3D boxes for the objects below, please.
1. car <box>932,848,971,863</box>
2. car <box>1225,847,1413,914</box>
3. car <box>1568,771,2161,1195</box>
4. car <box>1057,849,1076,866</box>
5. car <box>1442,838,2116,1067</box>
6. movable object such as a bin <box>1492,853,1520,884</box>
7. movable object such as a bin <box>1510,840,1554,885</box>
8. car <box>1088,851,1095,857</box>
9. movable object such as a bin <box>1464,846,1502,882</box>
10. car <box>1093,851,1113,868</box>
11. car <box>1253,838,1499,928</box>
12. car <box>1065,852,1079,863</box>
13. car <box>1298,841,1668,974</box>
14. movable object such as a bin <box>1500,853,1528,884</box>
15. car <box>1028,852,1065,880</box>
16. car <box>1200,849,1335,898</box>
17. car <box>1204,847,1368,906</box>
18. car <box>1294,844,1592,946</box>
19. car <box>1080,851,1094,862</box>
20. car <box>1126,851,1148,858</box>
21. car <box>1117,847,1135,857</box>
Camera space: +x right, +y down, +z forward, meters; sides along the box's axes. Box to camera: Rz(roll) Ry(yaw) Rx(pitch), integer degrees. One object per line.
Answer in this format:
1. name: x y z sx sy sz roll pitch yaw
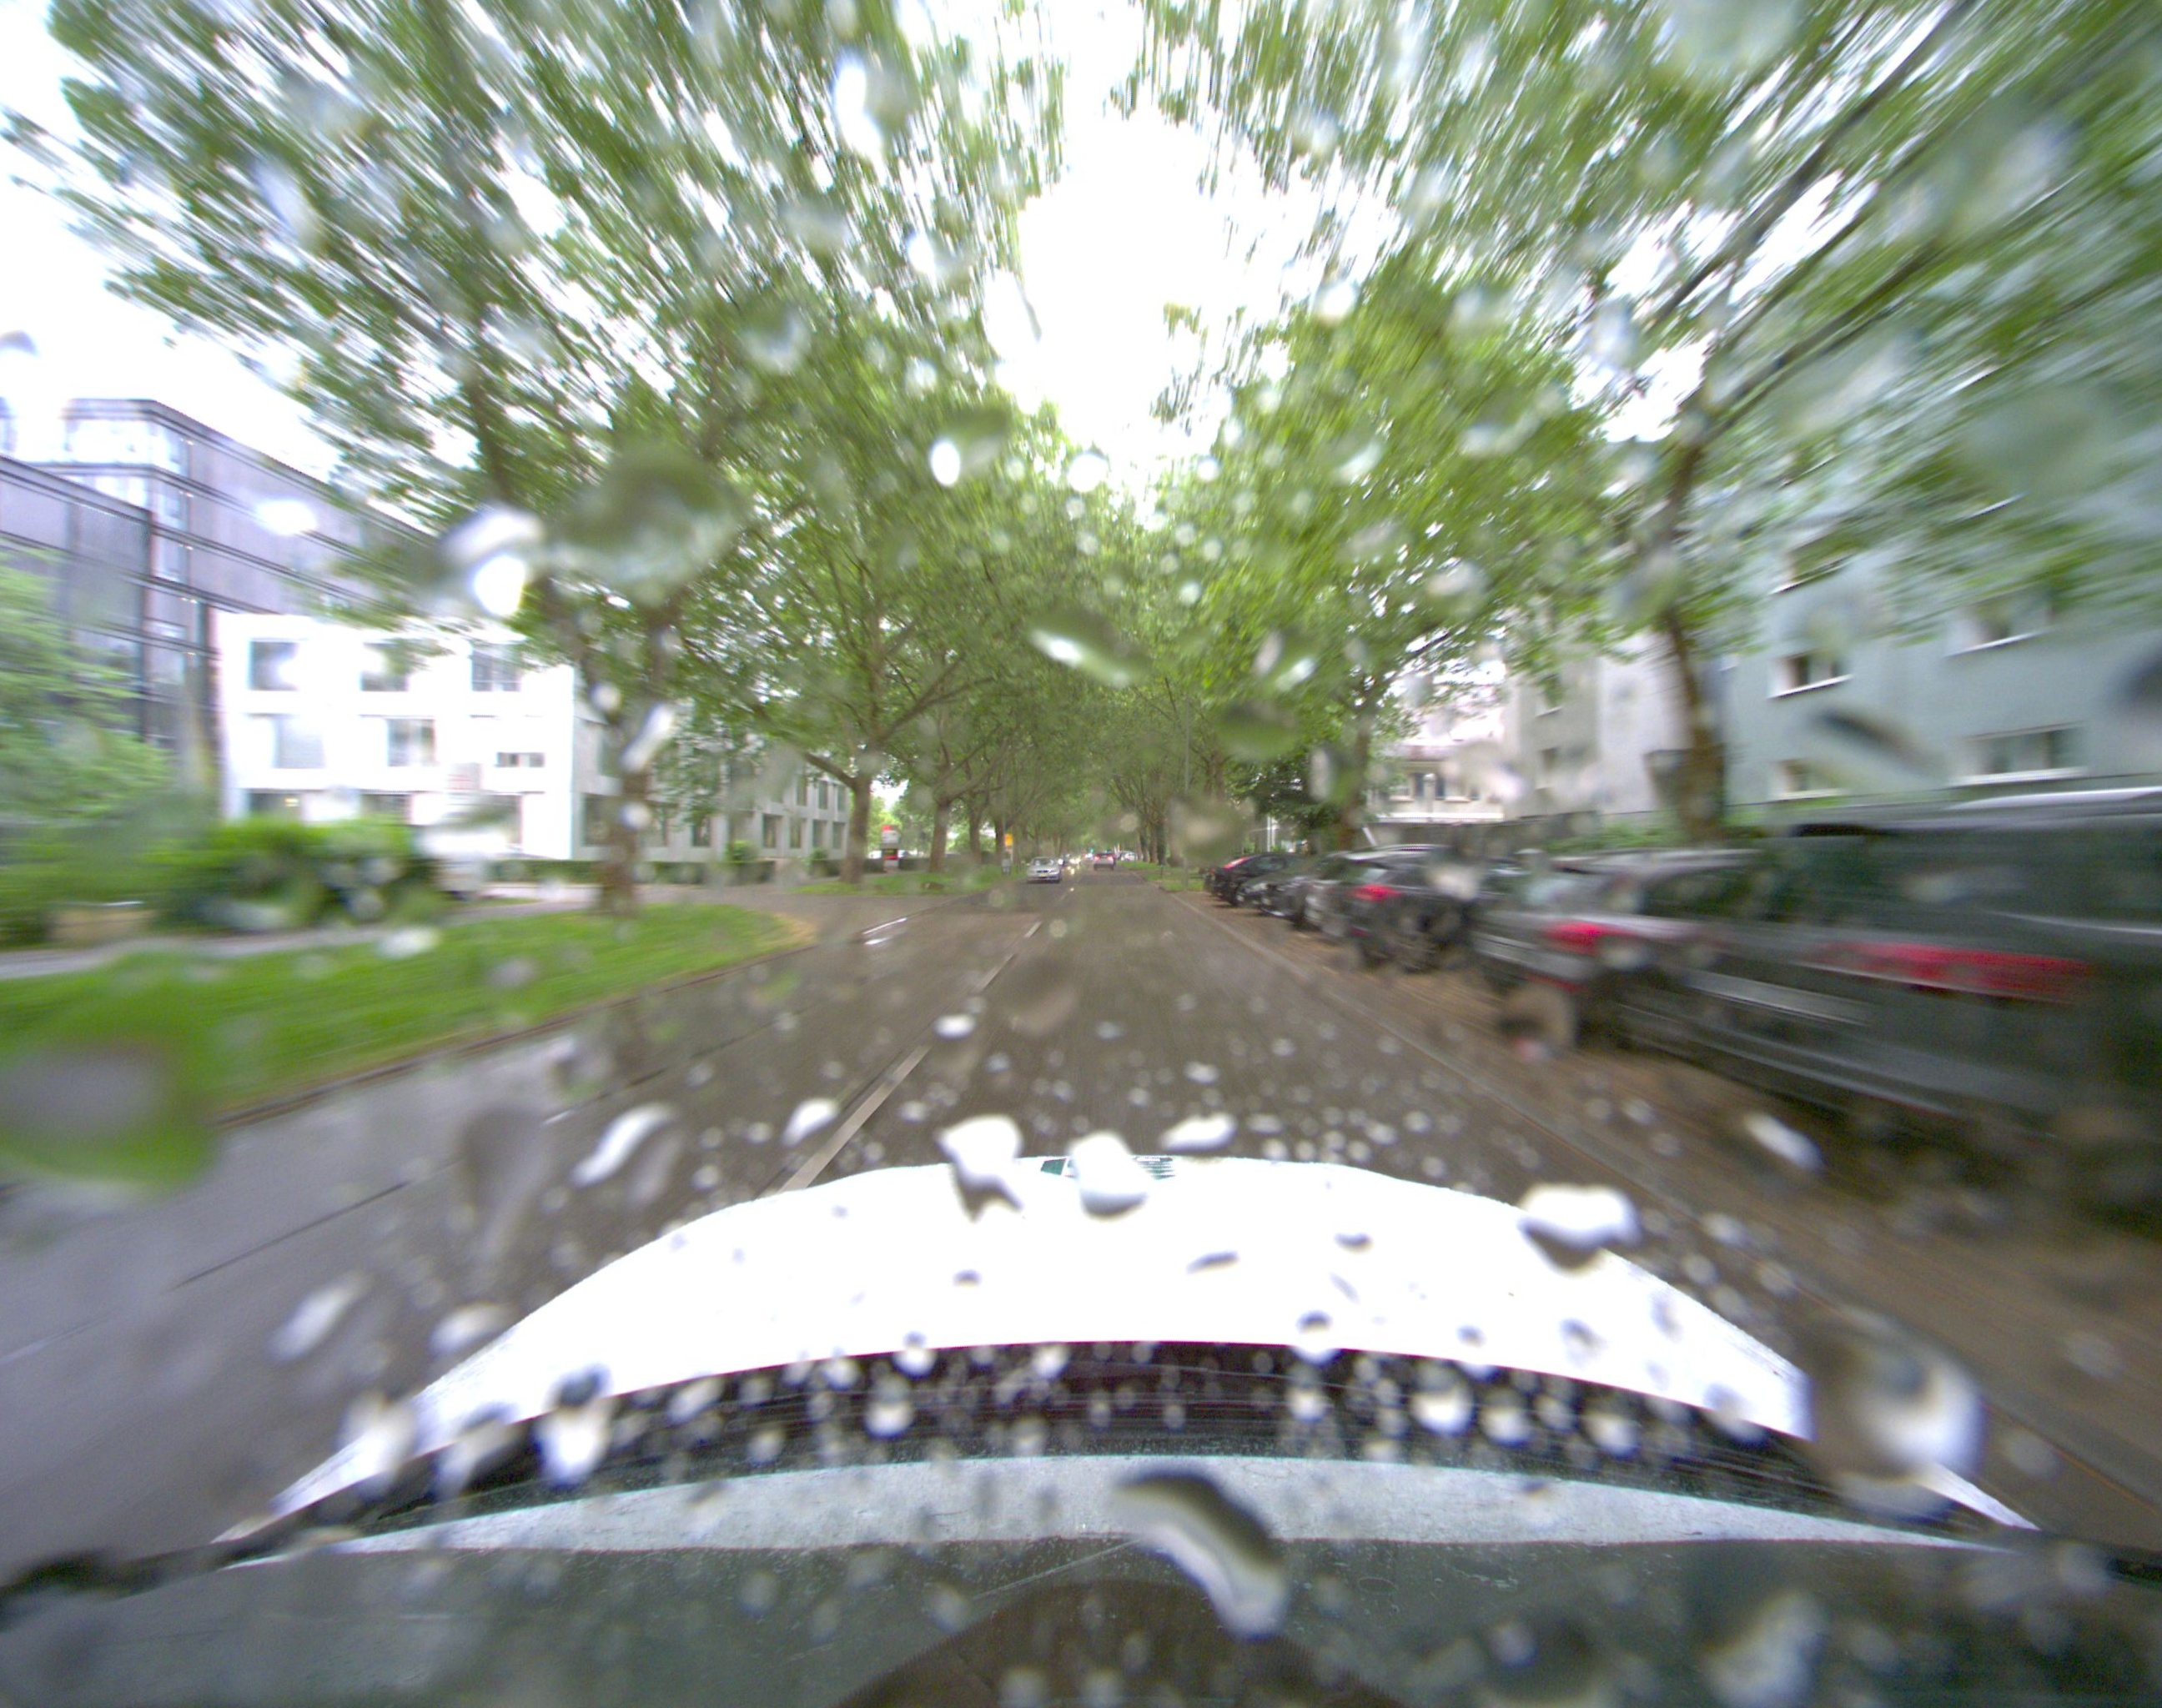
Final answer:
1. car: -14.363 0.177 90.502 3.972 1.623 2.001 0 0 1
2. car: 5.653 0.604 19.646 4.029 1.530 1.780 0 0 -1
3. car: 5.287 0.554 4.311 4.321 1.762 1.819 1 0 1
4. car: -1.479 0.355 86.560 1.803 1.684 4.449 -2 1 1
5. car: 5.246 0.679 6.534 3.972 1.537 1.632 1 0 1
6. movable object such as a bin: 15.253 0.514 29.264 0.684 1.066 0.622 -1 0 2
7. movable object such as a bin: 14.774 0.255 26.706 0.861 1.438 1.114 -1 0 2
8. car: 2.584 -0.038 204.293 1.713 1.255 4.002 1 1 2
9. movable object such as a bin: 15.240 0.372 30.916 0.899 1.310 1.174 -1 0 2
10. car: 2.003 0.449 72.574 1.700 1.411 3.646 -2 1 2
11. car: 5.662 0.518 16.045 4.195 1.655 1.914 0 0 0
12. car: -1.183 0.442 107.211 1.700 1.250 3.646 -2 1 2
13. car: 5.105 0.634 10.693 4.024 1.441 1.685 -2 1 -2
14. movable object such as a bin: 15.222 0.519 28.627 0.657 1.066 0.622 -1 0 2
15. car: -1.836 0.622 44.642 1.672 1.388 4.552 -1 1 2
16. car: 5.861 0.598 25.933 3.972 1.438 1.680 -1 0 1
17. car: 5.555 0.587 22.440 4.085 1.513 1.865 -1 0 1
18. car: 5.848 0.629 13.510 4.198 1.584 1.746 0 0 -1
19. car: 0.812 0.337 109.971 1.700 1.411 3.646 -2 1 2
20. car: 9.603 0.091 139.275 3.537 1.155 1.711 -2 0 -2
21. car: 9.299 -0.457 167.210 3.536 1.841 1.711 -2 0 -1
